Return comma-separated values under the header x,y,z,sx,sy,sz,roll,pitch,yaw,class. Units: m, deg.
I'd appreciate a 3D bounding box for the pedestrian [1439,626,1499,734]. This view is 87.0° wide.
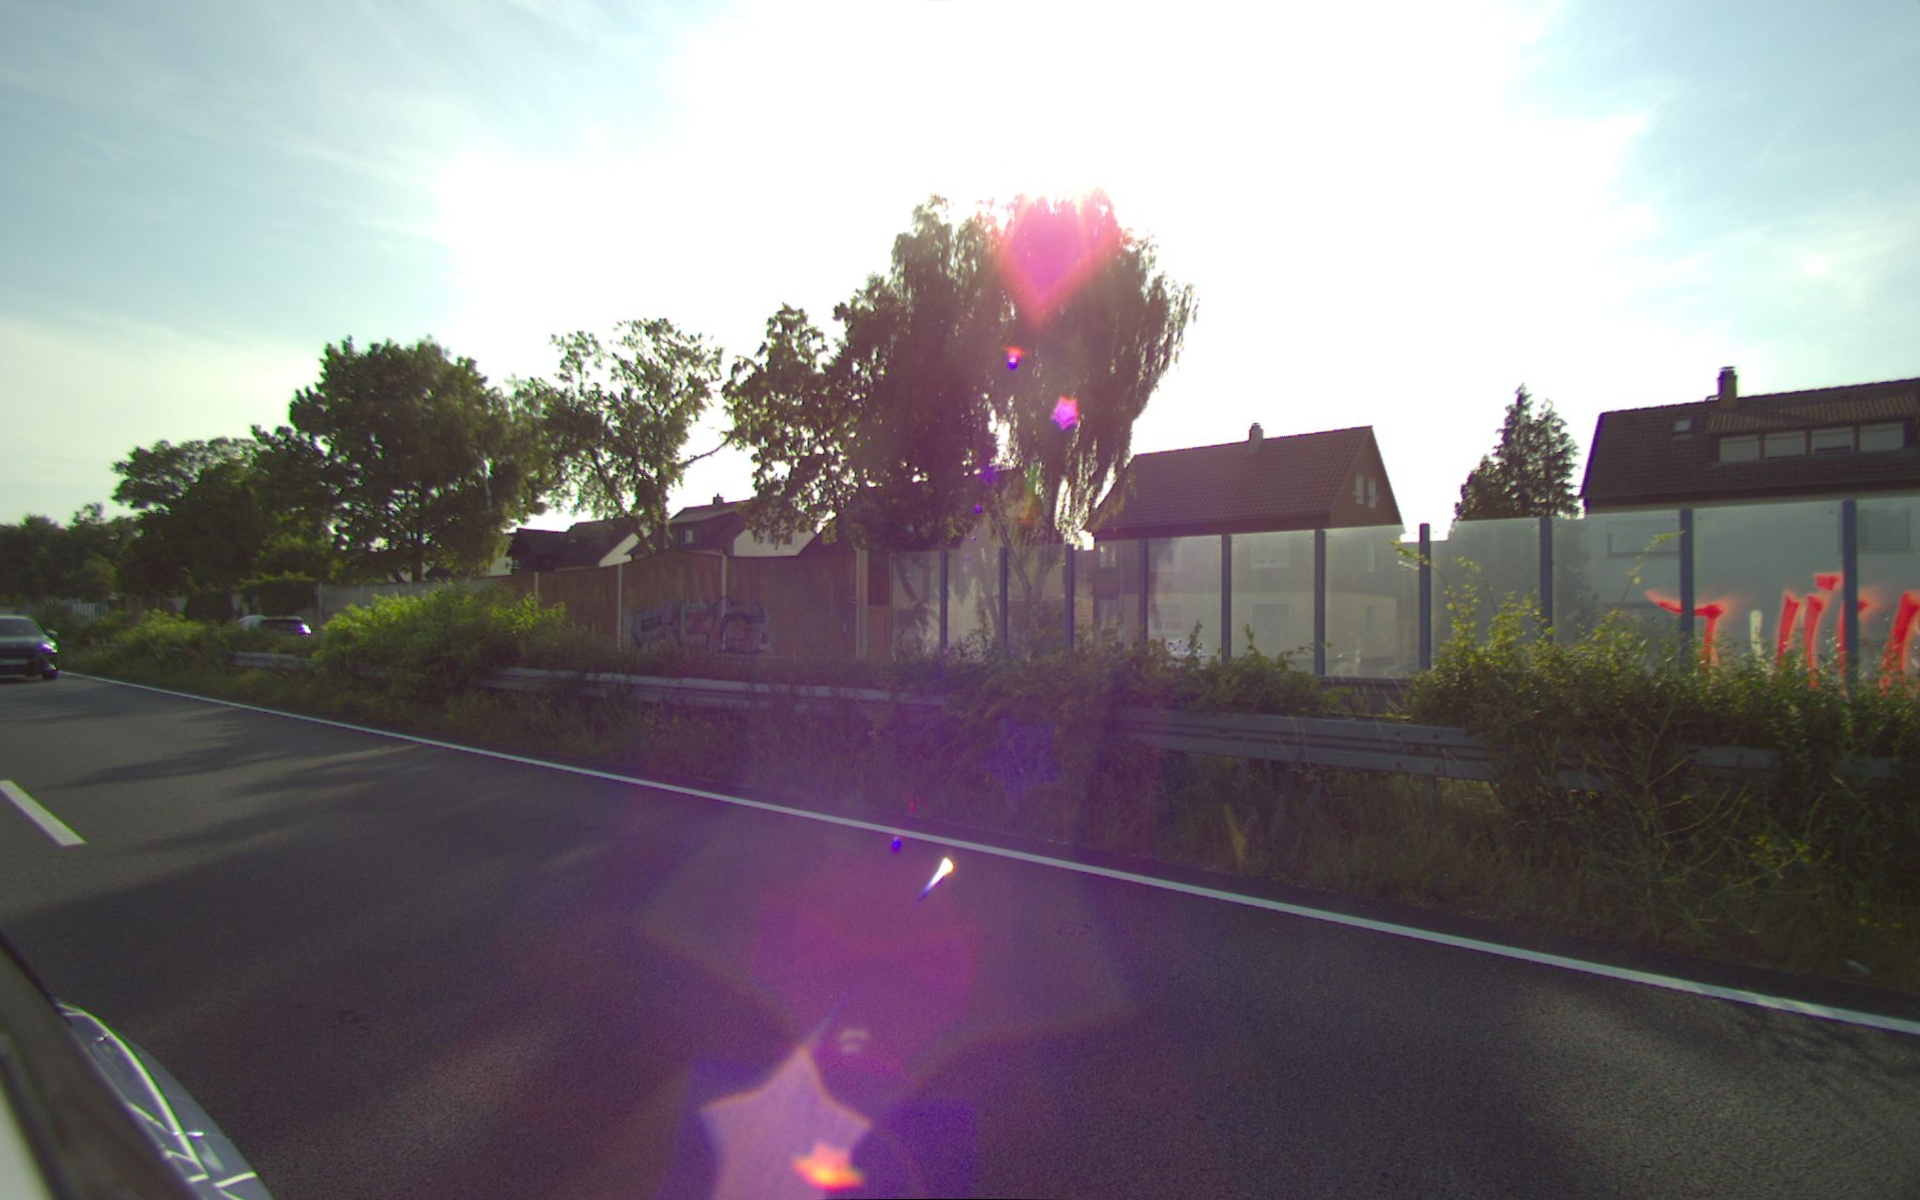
x,y,z,sx,sy,sz,roll,pitch,yaw,class
10.168,1.571,20.220,0.932,2.065,0.660,-1,0,41,pedestrian

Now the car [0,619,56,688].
x,y,z,sx,sy,sz,roll,pitch,yaw,class
-23.558,1.254,24.638,4.244,1.536,1.798,-1,0,41,car

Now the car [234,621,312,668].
x,y,z,sx,sy,sz,roll,pitch,yaw,class
-23.290,1.459,34.279,3.145,1.473,1.402,-1,0,41,car
